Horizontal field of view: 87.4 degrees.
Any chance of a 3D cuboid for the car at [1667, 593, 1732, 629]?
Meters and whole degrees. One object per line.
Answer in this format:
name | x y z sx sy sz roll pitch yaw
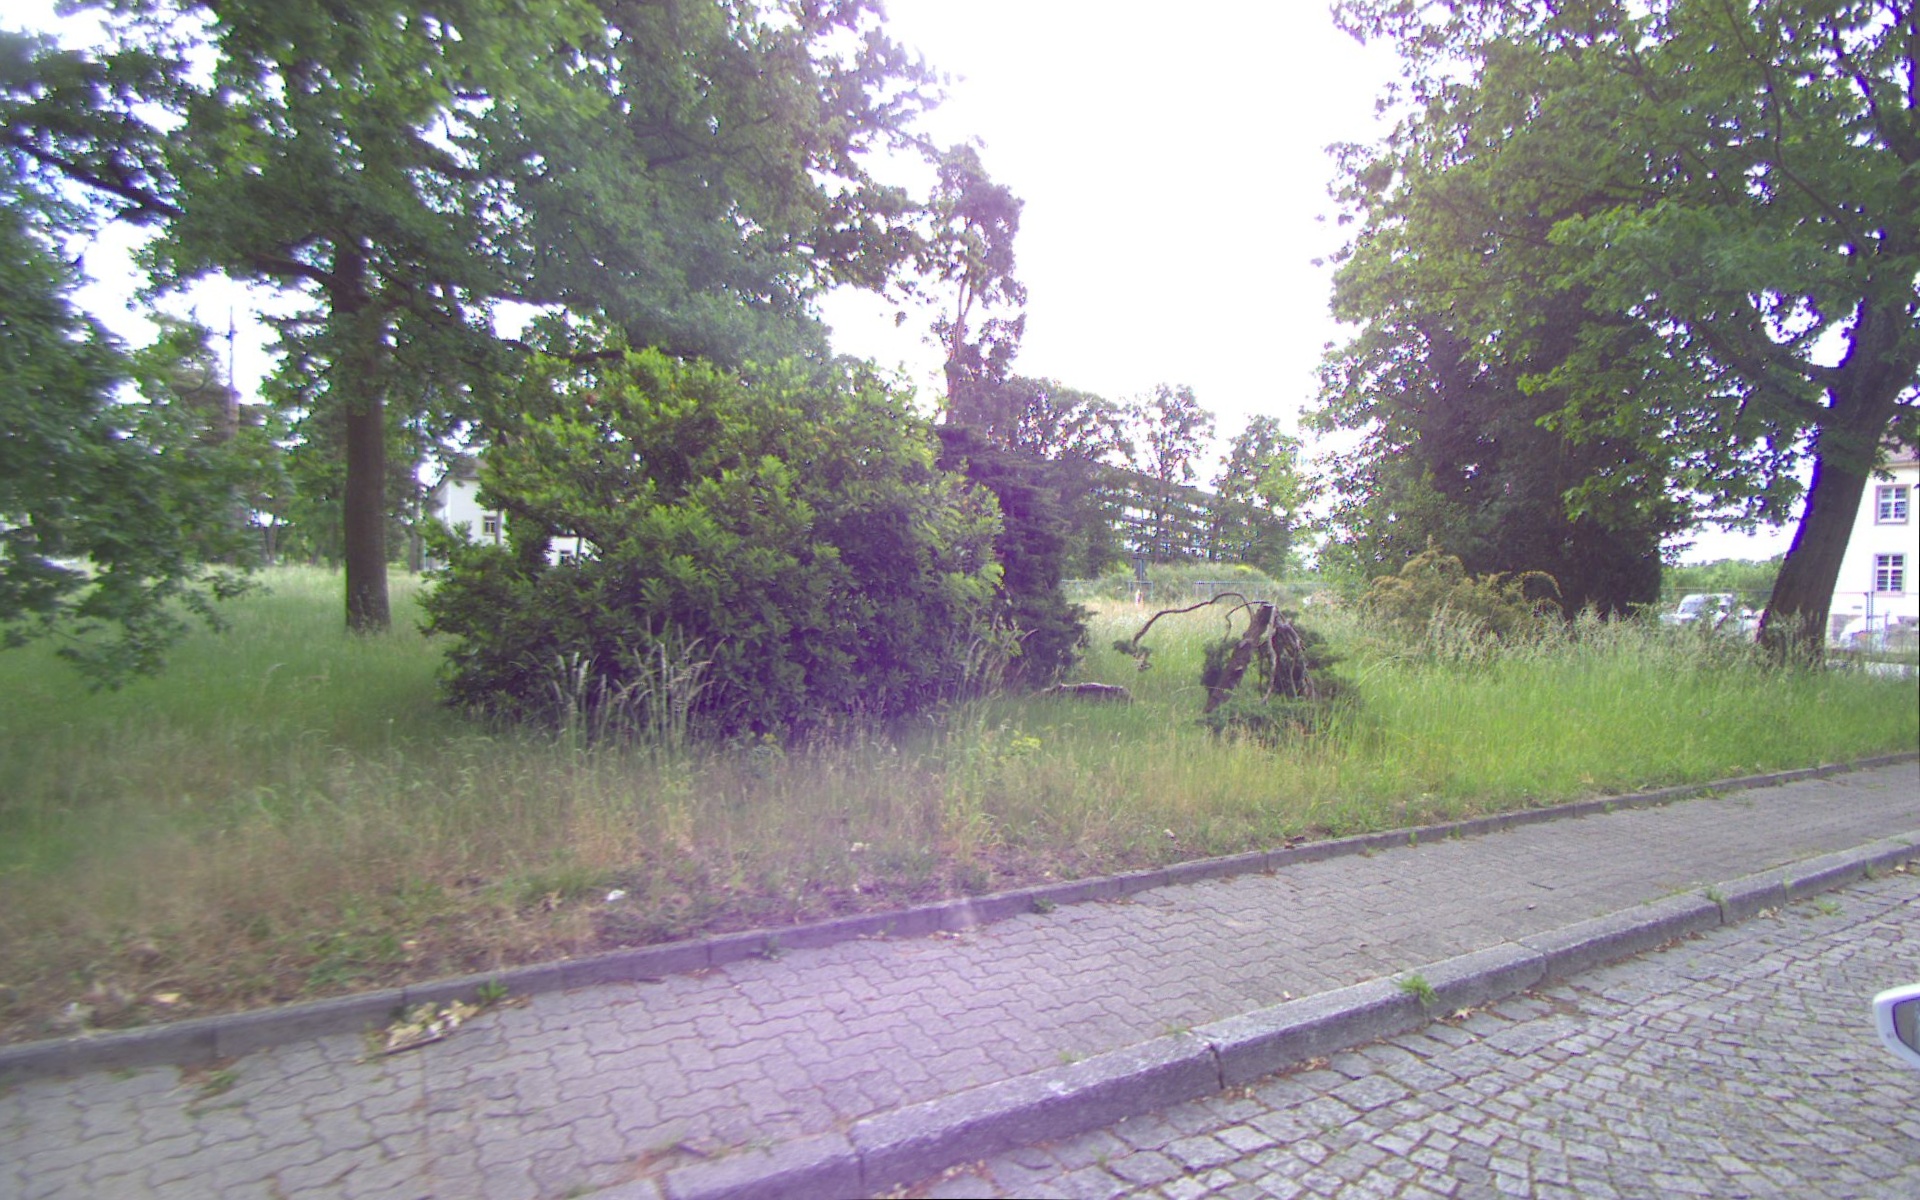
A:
car | 46.771 0.687 63.477 4.855 2.179 2.051 1 1 -38
